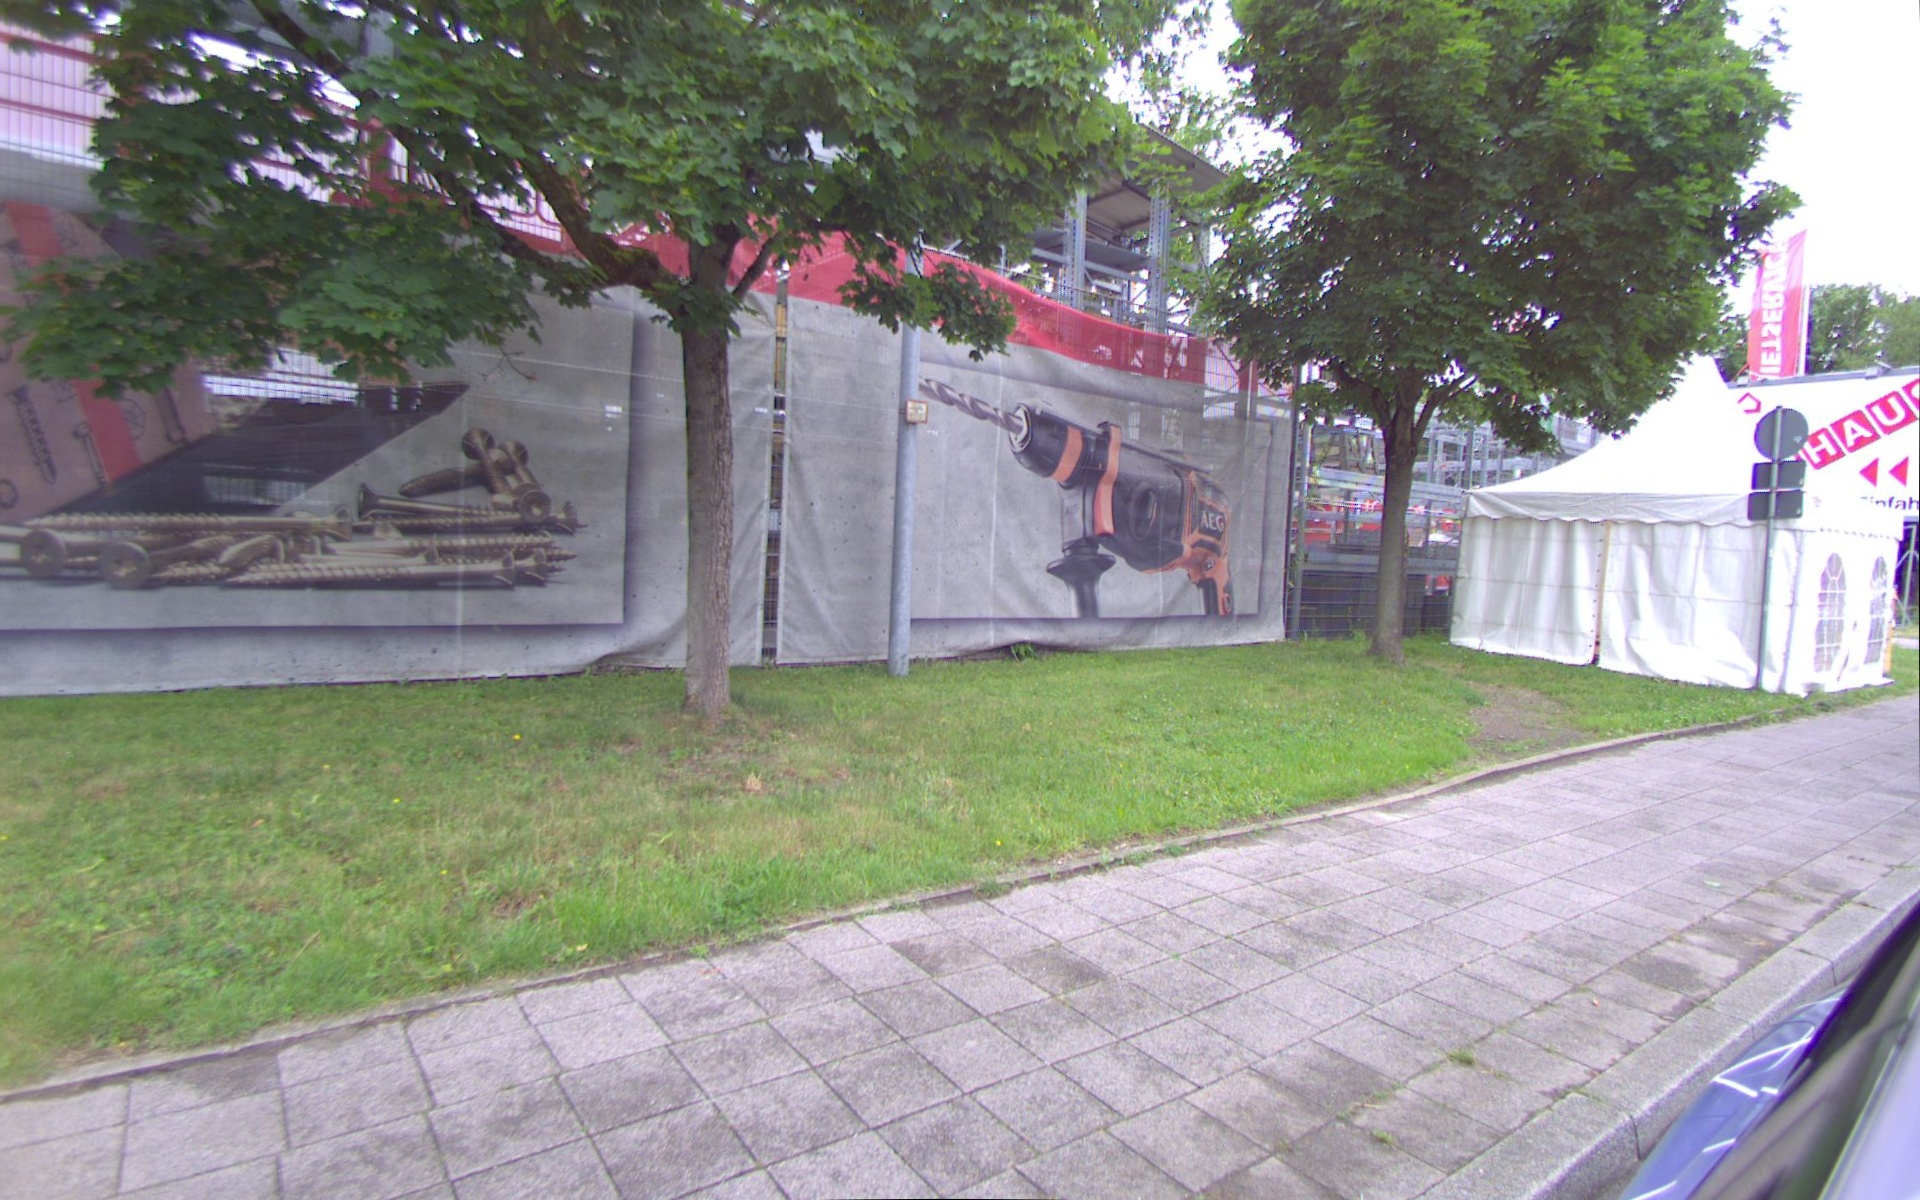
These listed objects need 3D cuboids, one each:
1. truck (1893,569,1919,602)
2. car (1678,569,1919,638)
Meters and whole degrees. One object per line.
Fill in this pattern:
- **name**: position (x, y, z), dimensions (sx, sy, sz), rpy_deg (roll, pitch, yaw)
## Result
- **truck**: position (73.982, -1.050, 76.905), dimensions (3.928, 2.425, 1.999), rpy_deg (3, 3, 3)
- **car**: position (21.461, 0.014, 26.017), dimensions (1.902, 1.445, 4.498), rpy_deg (-1, 4, -34)
